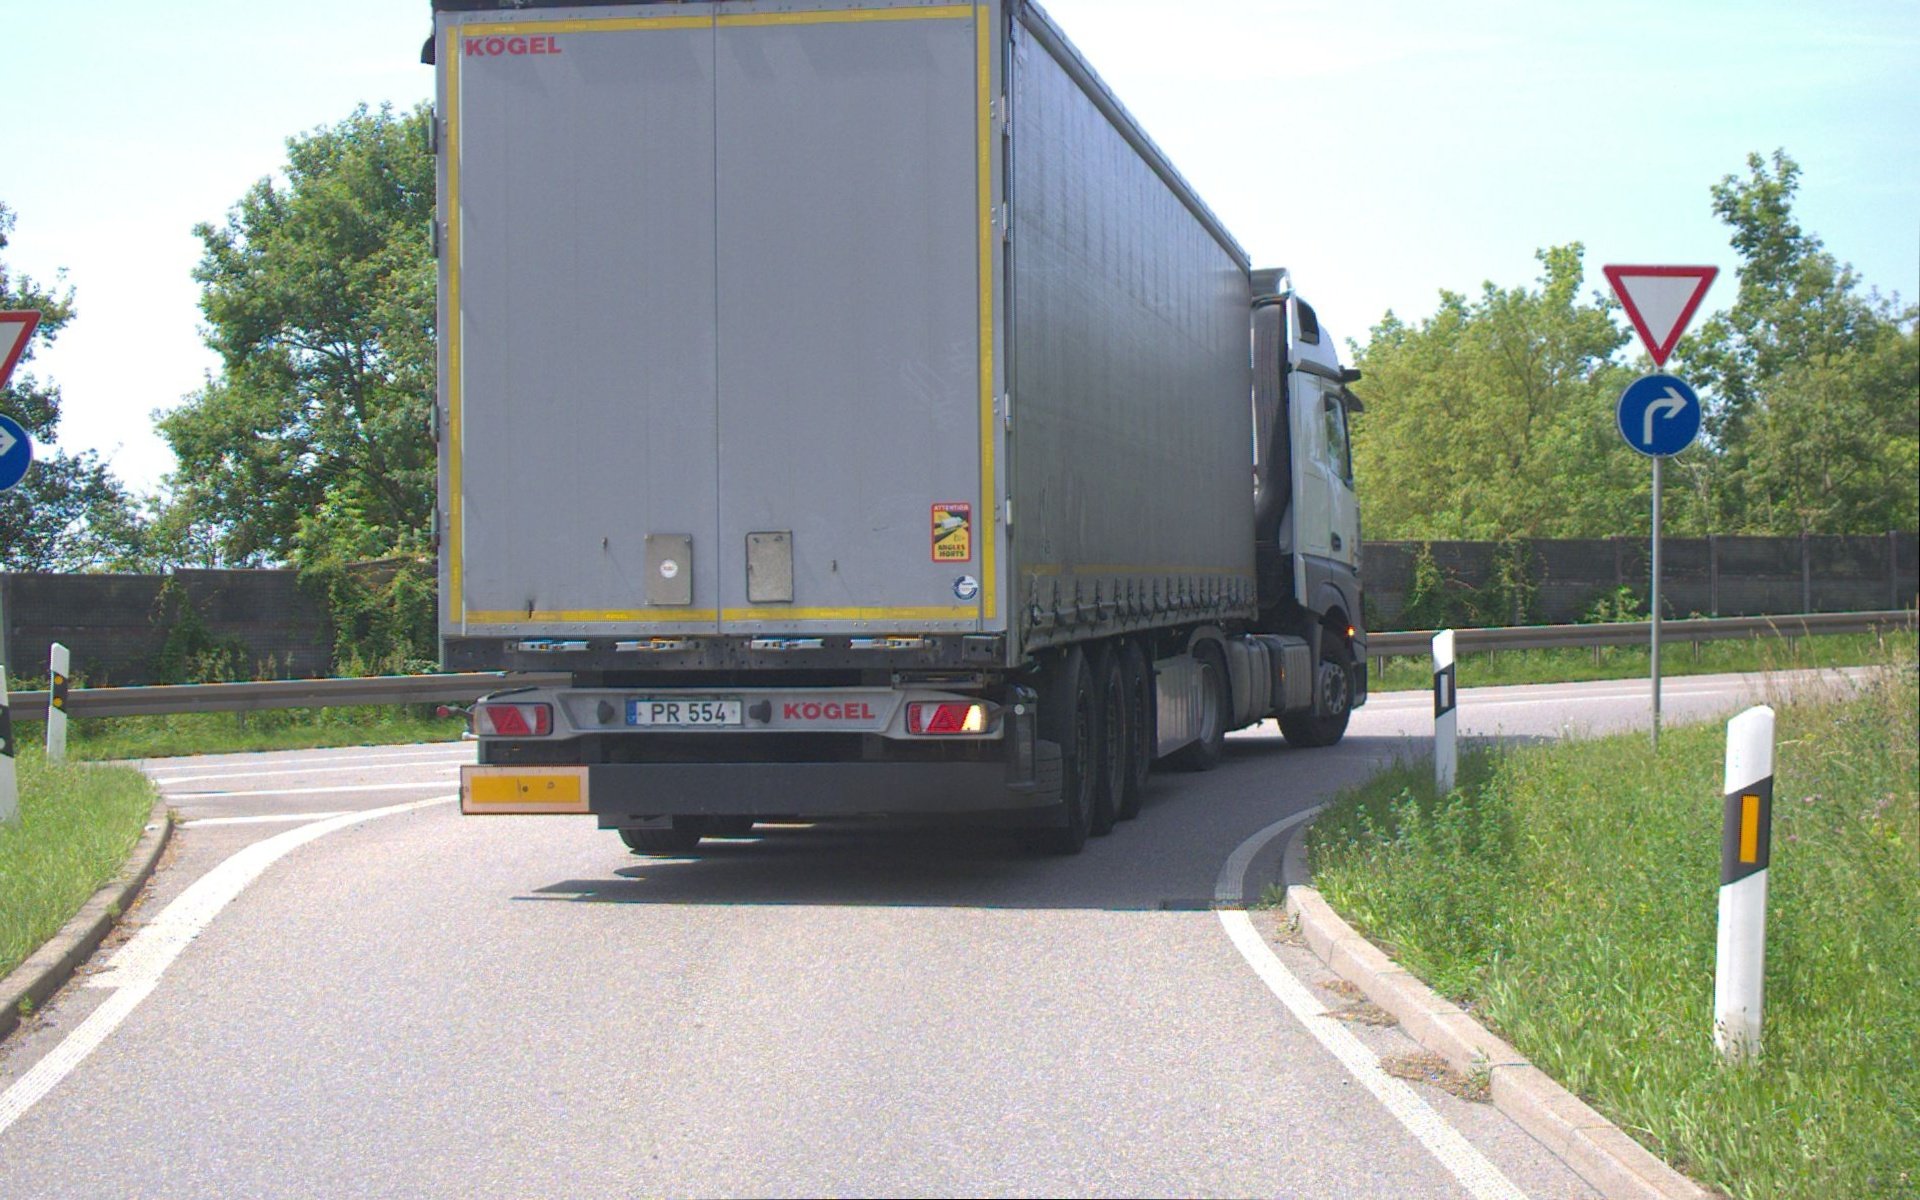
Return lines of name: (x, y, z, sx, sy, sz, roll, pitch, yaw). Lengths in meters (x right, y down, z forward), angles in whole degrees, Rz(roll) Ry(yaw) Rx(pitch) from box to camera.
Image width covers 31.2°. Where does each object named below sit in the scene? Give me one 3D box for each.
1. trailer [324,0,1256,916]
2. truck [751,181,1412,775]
trailer: (-0.186, -0.728, 21.151, 3.028, 4.021, 13.347, -1, 0, 9)
truck: (1.258, -0.864, 28.236, 3.156, 4.210, 7.114, -1, 0, 22)
